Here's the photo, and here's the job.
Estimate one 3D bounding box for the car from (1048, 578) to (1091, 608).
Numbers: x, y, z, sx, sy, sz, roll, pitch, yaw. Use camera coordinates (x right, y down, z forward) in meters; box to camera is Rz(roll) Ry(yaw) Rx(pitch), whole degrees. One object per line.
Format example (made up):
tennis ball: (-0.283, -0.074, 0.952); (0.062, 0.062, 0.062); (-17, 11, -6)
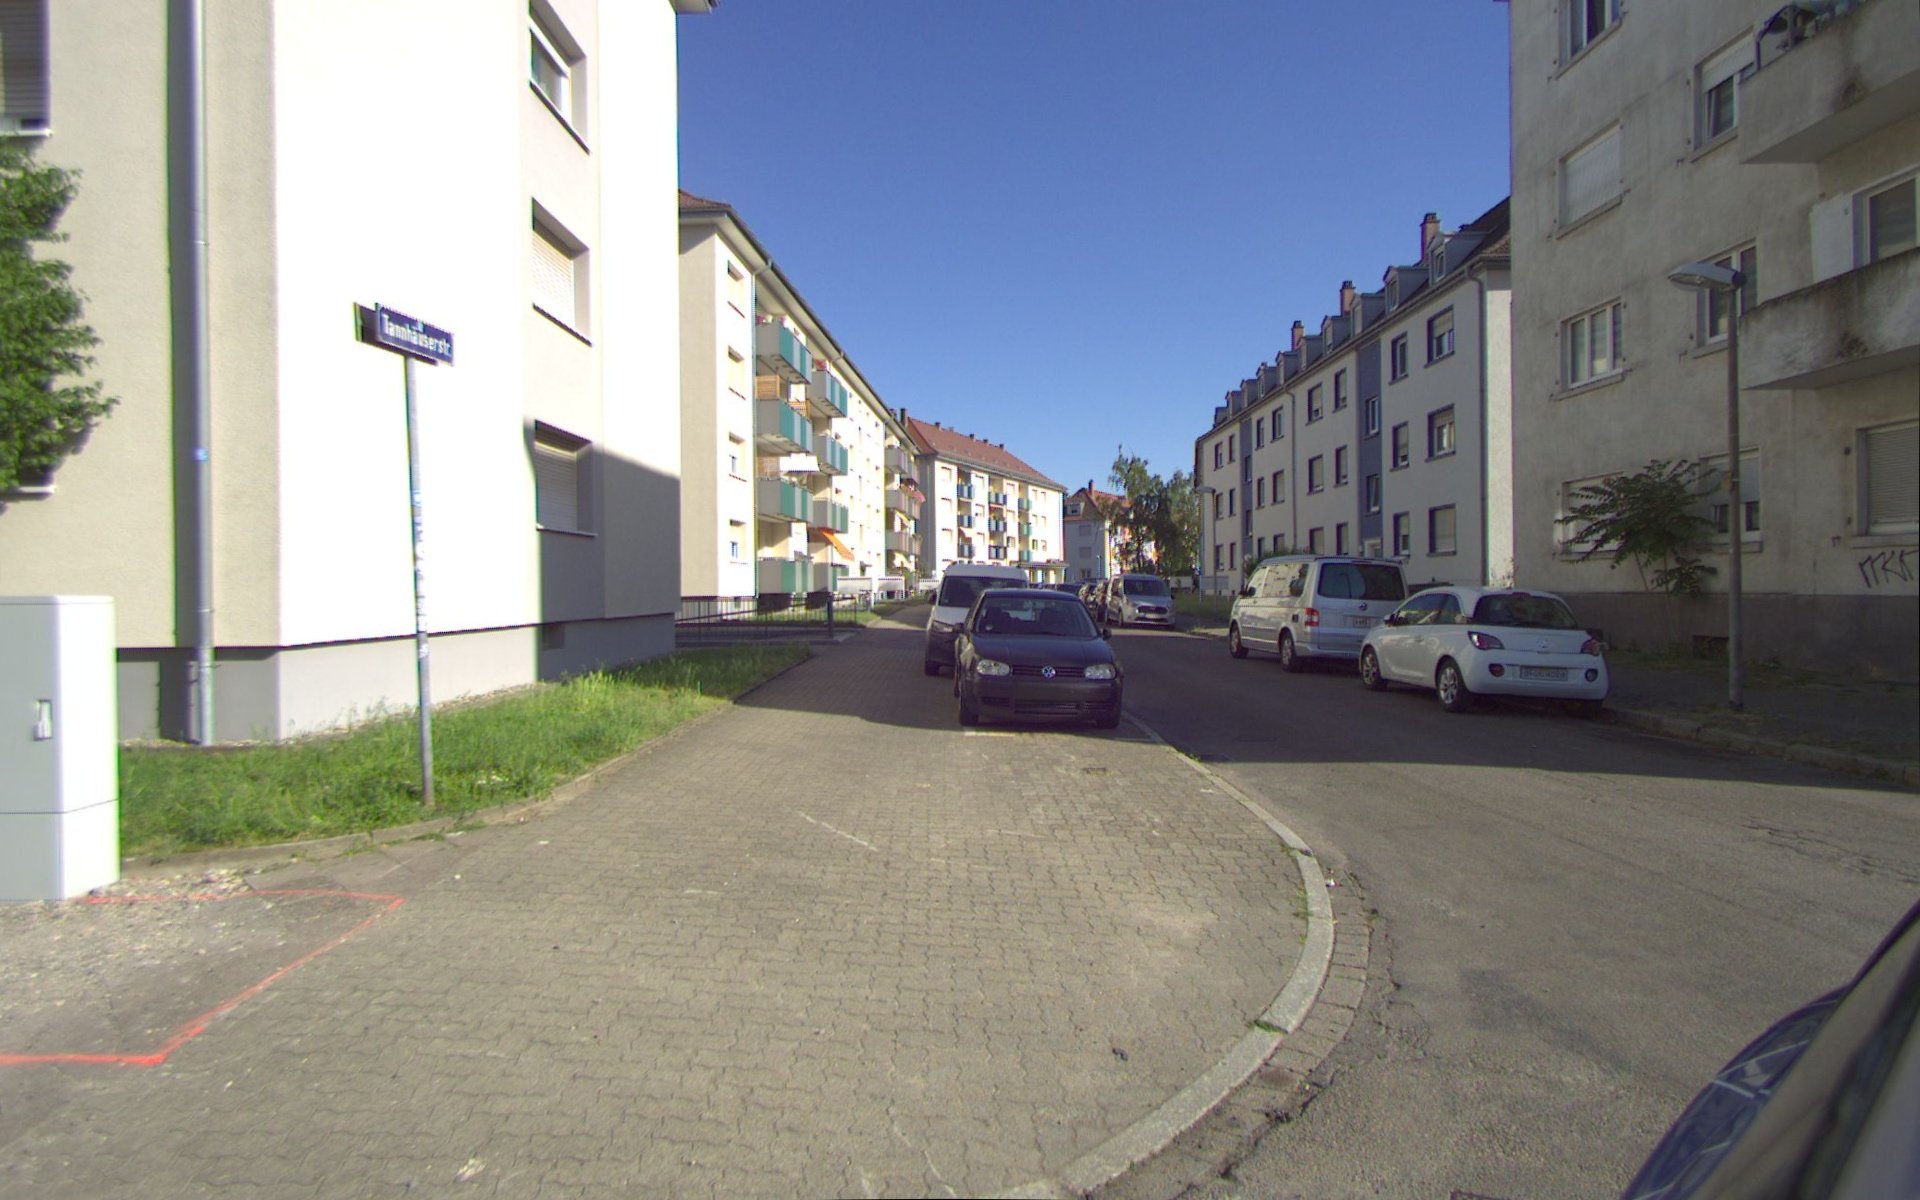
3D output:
car: (5.841, -0.395, 54.451); (1.870, 1.477, 4.395); (2, 1, 1)

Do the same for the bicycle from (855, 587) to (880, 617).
bicycle: (-3.653, 0.055, 40.085); (0.498, 1.106, 2.071); (-2, 1, 7)

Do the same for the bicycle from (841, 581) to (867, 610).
bicycle: (-4.201, -0.199, 40.203); (0.498, 1.057, 2.071); (-2, 1, 7)

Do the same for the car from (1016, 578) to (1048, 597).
car: (6.515, -1.169, 91.033); (1.736, 1.655, 4.377); (1, 1, 20)

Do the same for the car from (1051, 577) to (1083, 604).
car: (6.406, -0.568, 60.860); (1.716, 1.535, 3.978); (2, 1, 4)

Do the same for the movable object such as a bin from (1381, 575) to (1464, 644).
movable object such as a bin: (9.839, 0.188, 21.586); (1.235, 1.394, 1.045); (-2, 1, -1)

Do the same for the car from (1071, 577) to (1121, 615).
car: (5.912, -0.195, 44.421); (1.618, 1.538, 3.703); (2, 1, 0)

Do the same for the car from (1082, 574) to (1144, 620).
car: (5.942, -0.150, 39.648); (1.646, 1.611, 4.166); (3, 1, -1)

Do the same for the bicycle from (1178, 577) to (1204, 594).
bicycle: (15.843, -0.986, 69.383); (1.710, 1.002, 0.460); (-4, 0, 15)

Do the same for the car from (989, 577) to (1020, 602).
car: (3.507, -0.806, 78.753); (1.731, 1.756, 3.987); (-5, 0, 11)

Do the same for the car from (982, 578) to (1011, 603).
car: (2.658, -0.713, 73.167); (1.557, 1.784, 4.226); (1, 1, 10)

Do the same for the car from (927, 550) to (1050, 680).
car: (0.443, 0.188, 17.224); (1.770, 1.869, 4.539); (2, 1, 1)

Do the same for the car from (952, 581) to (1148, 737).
car: (0.840, 0.525, 11.628); (1.769, 1.432, 4.050); (2, 1, -1)

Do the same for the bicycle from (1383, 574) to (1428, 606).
bicycle: (14.567, -0.342, 33.115); (0.491, 0.973, 2.074); (-4, 1, 0)

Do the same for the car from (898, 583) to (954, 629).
car: (-1.143, 0.147, 33.438); (1.713, 1.424, 4.316); (1, 1, -2)

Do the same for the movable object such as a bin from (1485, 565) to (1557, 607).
movable object such as a bin: (14.016, -0.364, 25.330); (1.111, 1.012, 1.204); (0, 2, 0)

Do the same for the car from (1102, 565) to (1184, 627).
car: (6.005, -0.164, 33.801); (1.771, 1.853, 4.949); (2, 1, 0)

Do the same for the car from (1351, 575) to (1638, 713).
car: (6.507, 0.448, 12.831); (1.660, 1.477, 3.721); (1, 1, 0)

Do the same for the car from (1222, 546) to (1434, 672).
car: (6.394, 0.099, 18.270); (1.919, 1.957, 4.858); (1, 1, -1)
